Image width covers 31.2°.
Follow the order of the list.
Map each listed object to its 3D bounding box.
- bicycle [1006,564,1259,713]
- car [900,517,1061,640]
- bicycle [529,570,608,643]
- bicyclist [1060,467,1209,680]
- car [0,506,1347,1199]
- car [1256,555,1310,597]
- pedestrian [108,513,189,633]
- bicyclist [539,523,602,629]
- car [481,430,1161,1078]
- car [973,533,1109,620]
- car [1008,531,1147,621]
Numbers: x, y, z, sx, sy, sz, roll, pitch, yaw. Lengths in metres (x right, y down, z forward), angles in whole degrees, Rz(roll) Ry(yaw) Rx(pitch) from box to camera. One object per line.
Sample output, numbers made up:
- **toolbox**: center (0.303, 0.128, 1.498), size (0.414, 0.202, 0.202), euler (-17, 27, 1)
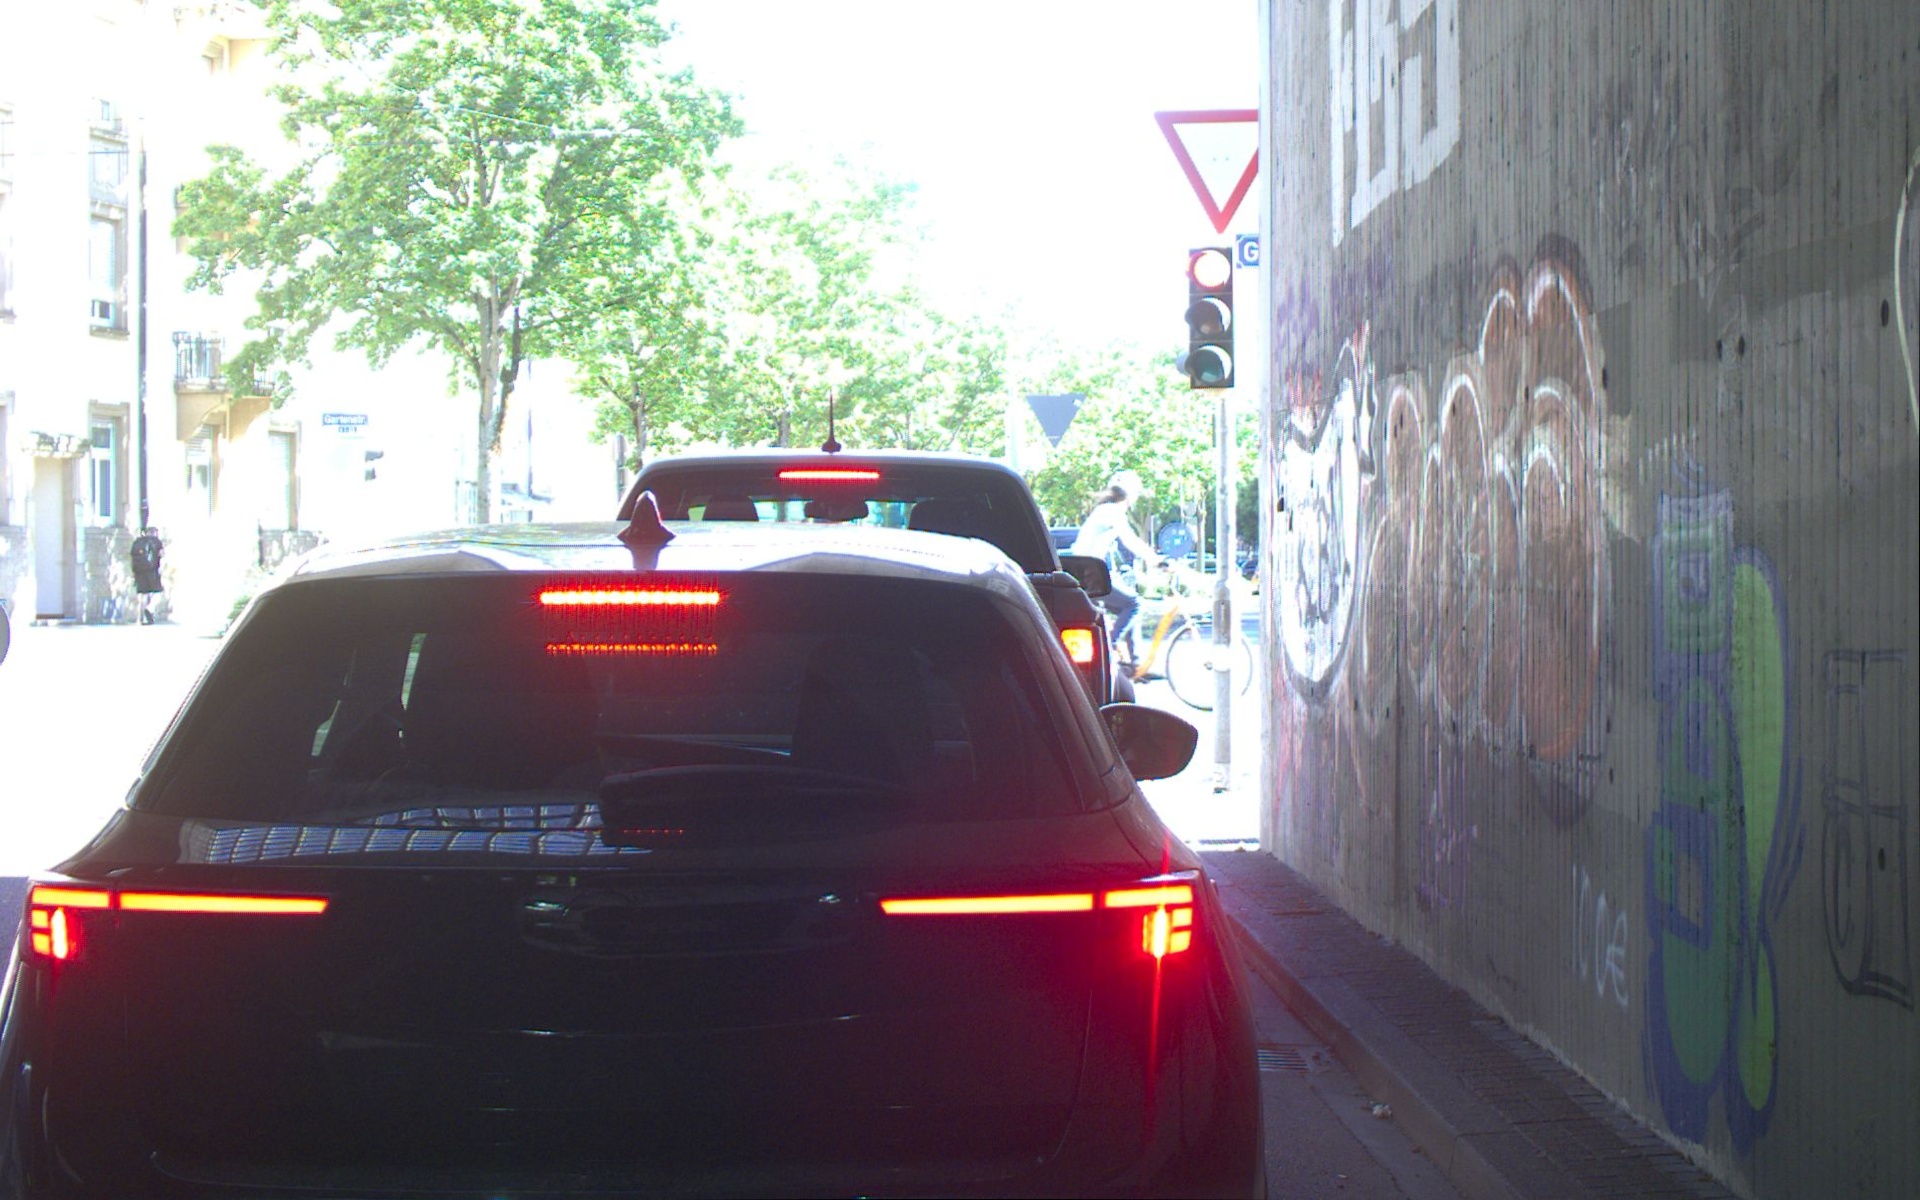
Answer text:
- **bicycle**: center (1.342, 0.290, 26.610), size (1.903, 1.110, 0.611), euler (1, 0, 7)
- **car**: center (0.296, -0.245, 44.177), size (1.968, 1.492, 3.896), euler (0, -1, 1)
- **bicycle**: center (-5.858, 0.093, 51.520), size (0.732, 1.064, 1.688), euler (1, 1, 9)
- **bicyclist**: center (1.355, -0.206, 26.633), size (1.093, 1.613, 0.629), euler (1, 0, 7)
- **car**: center (-0.502, 0.625, 6.073), size (1.882, 1.532, 3.964), euler (0, 1, -1)
- **car**: center (13.300, -1.001, 141.564), size (1.994, 1.656, 3.999), euler (1, 1, 8)
- **pedestrian**: center (-13.720, -0.461, 58.153), size (0.992, 2.007, 1.088), euler (0, 1, 8)
- **bicyclist**: center (-5.840, -0.363, 51.545), size (0.729, 1.576, 0.814), euler (1, 0, 9)
- **car**: center (-0.422, 0.406, 11.895), size (1.945, 1.853, 3.964), euler (0, 1, -1)
- **car**: center (1.508, -0.399, 62.198), size (1.969, 1.492, 3.895), euler (0, -1, 9)
- **car**: center (2.395, -0.456, 69.008), size (2.221, 1.713, 4.458), euler (0, -1, 10)
